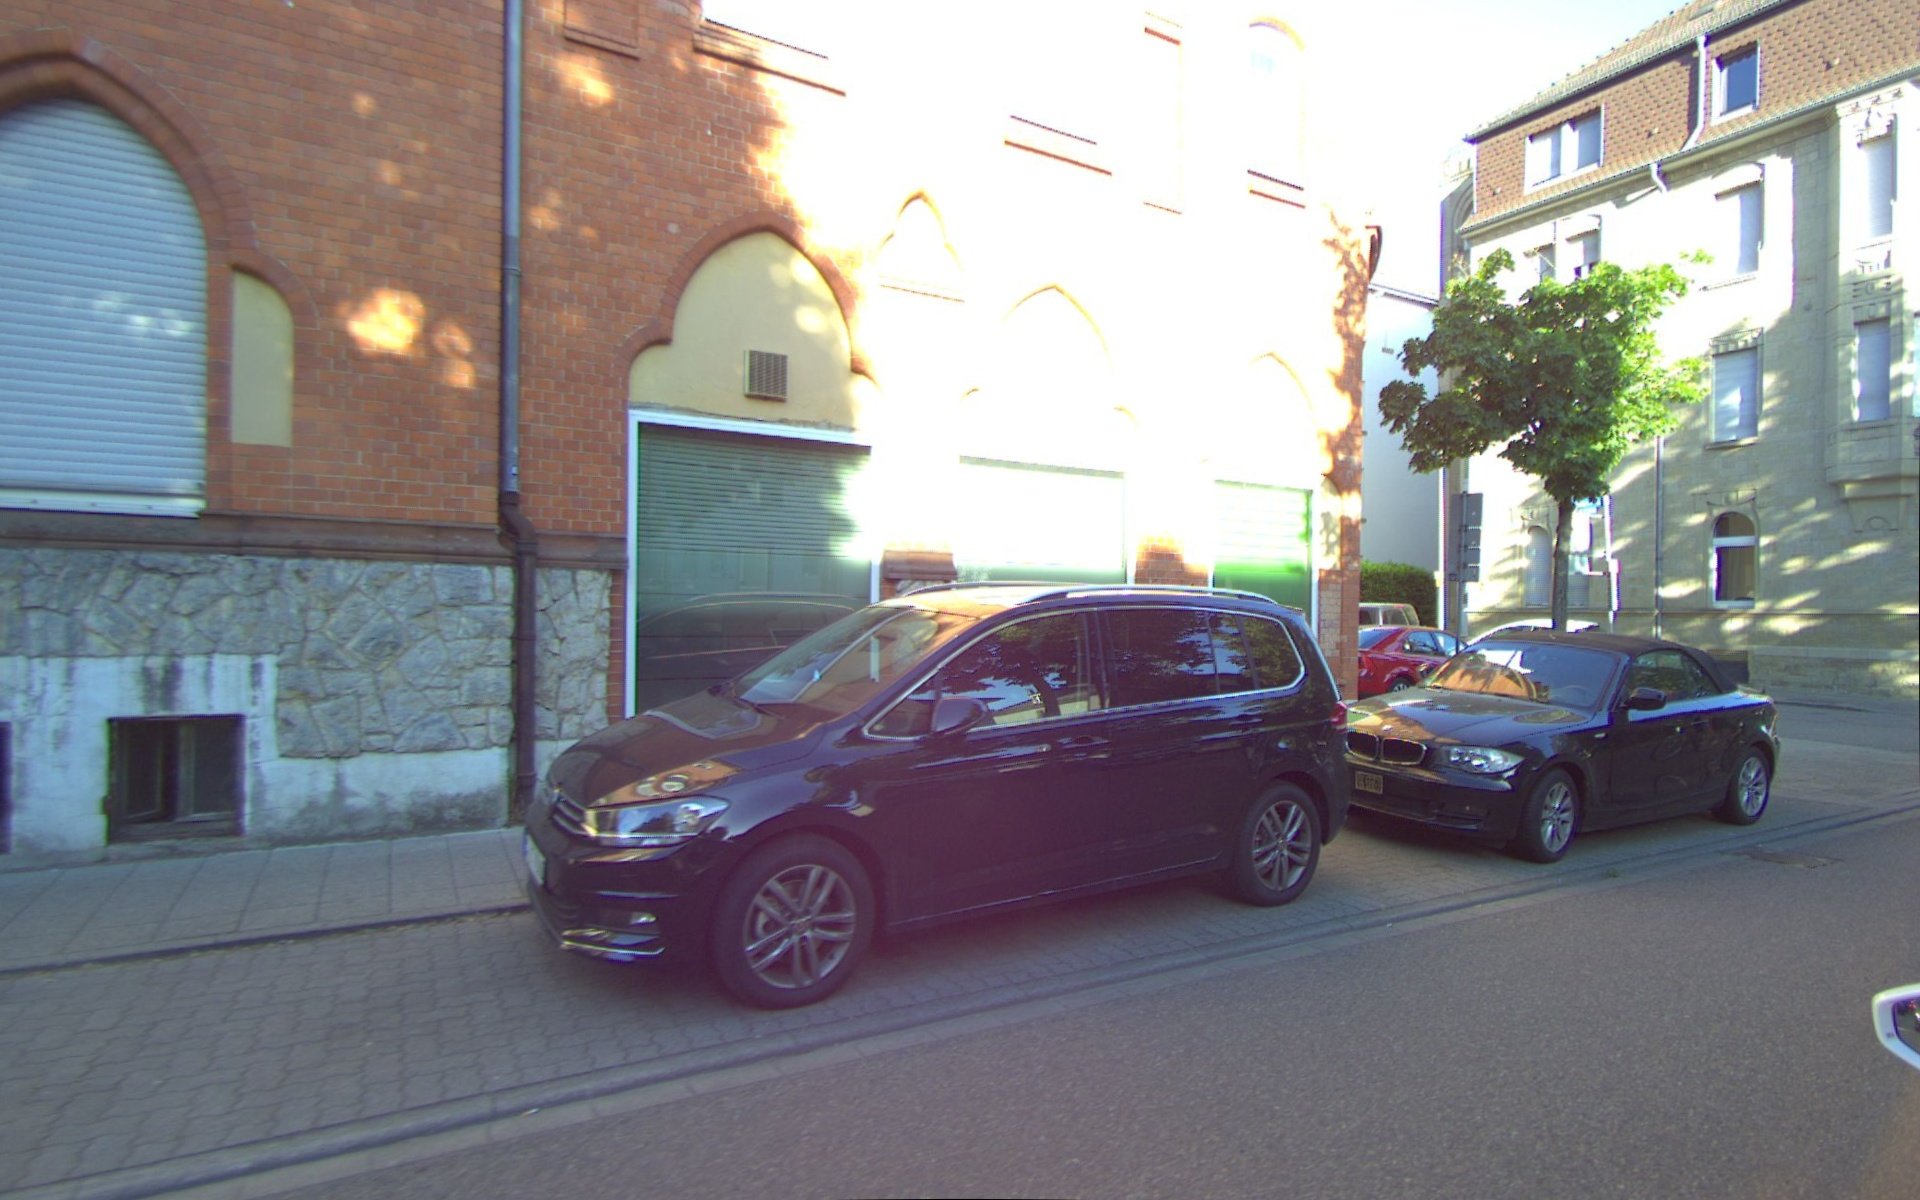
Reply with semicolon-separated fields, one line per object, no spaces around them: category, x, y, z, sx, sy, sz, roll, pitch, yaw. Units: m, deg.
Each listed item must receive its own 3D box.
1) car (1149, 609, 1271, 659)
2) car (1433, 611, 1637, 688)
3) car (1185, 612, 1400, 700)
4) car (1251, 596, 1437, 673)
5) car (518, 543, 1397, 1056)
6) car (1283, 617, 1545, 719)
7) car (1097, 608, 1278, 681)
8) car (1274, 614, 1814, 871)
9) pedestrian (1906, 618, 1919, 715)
car;8.117;1.064;32.926;1.584;1.493;3.869;-3;1;-31
car;13.267;1.073;23.375;1.699;1.571;3.776;-3;1;-31
car;6.552;1.037;19.702;4.163;1.571;1.705;1;-1;-30
car;10.576;0.902;28.034;1.846;1.892;4.688;-3;1;-31
car;0.174;0.697;5.185;4.302;1.703;1.660;1;0;-32
car;7.673;1.077;16.850;4.603;1.488;1.628;1;0;-30
car;5.170;0.990;22.725;3.869;1.532;1.705;2;-1;-30
car;4.564;0.896;7.687;4.282;1.429;1.628;1;2;-30
pedestrian;16.528;1.098;16.697;1.041;1.598;0.884;0;-1;-30
